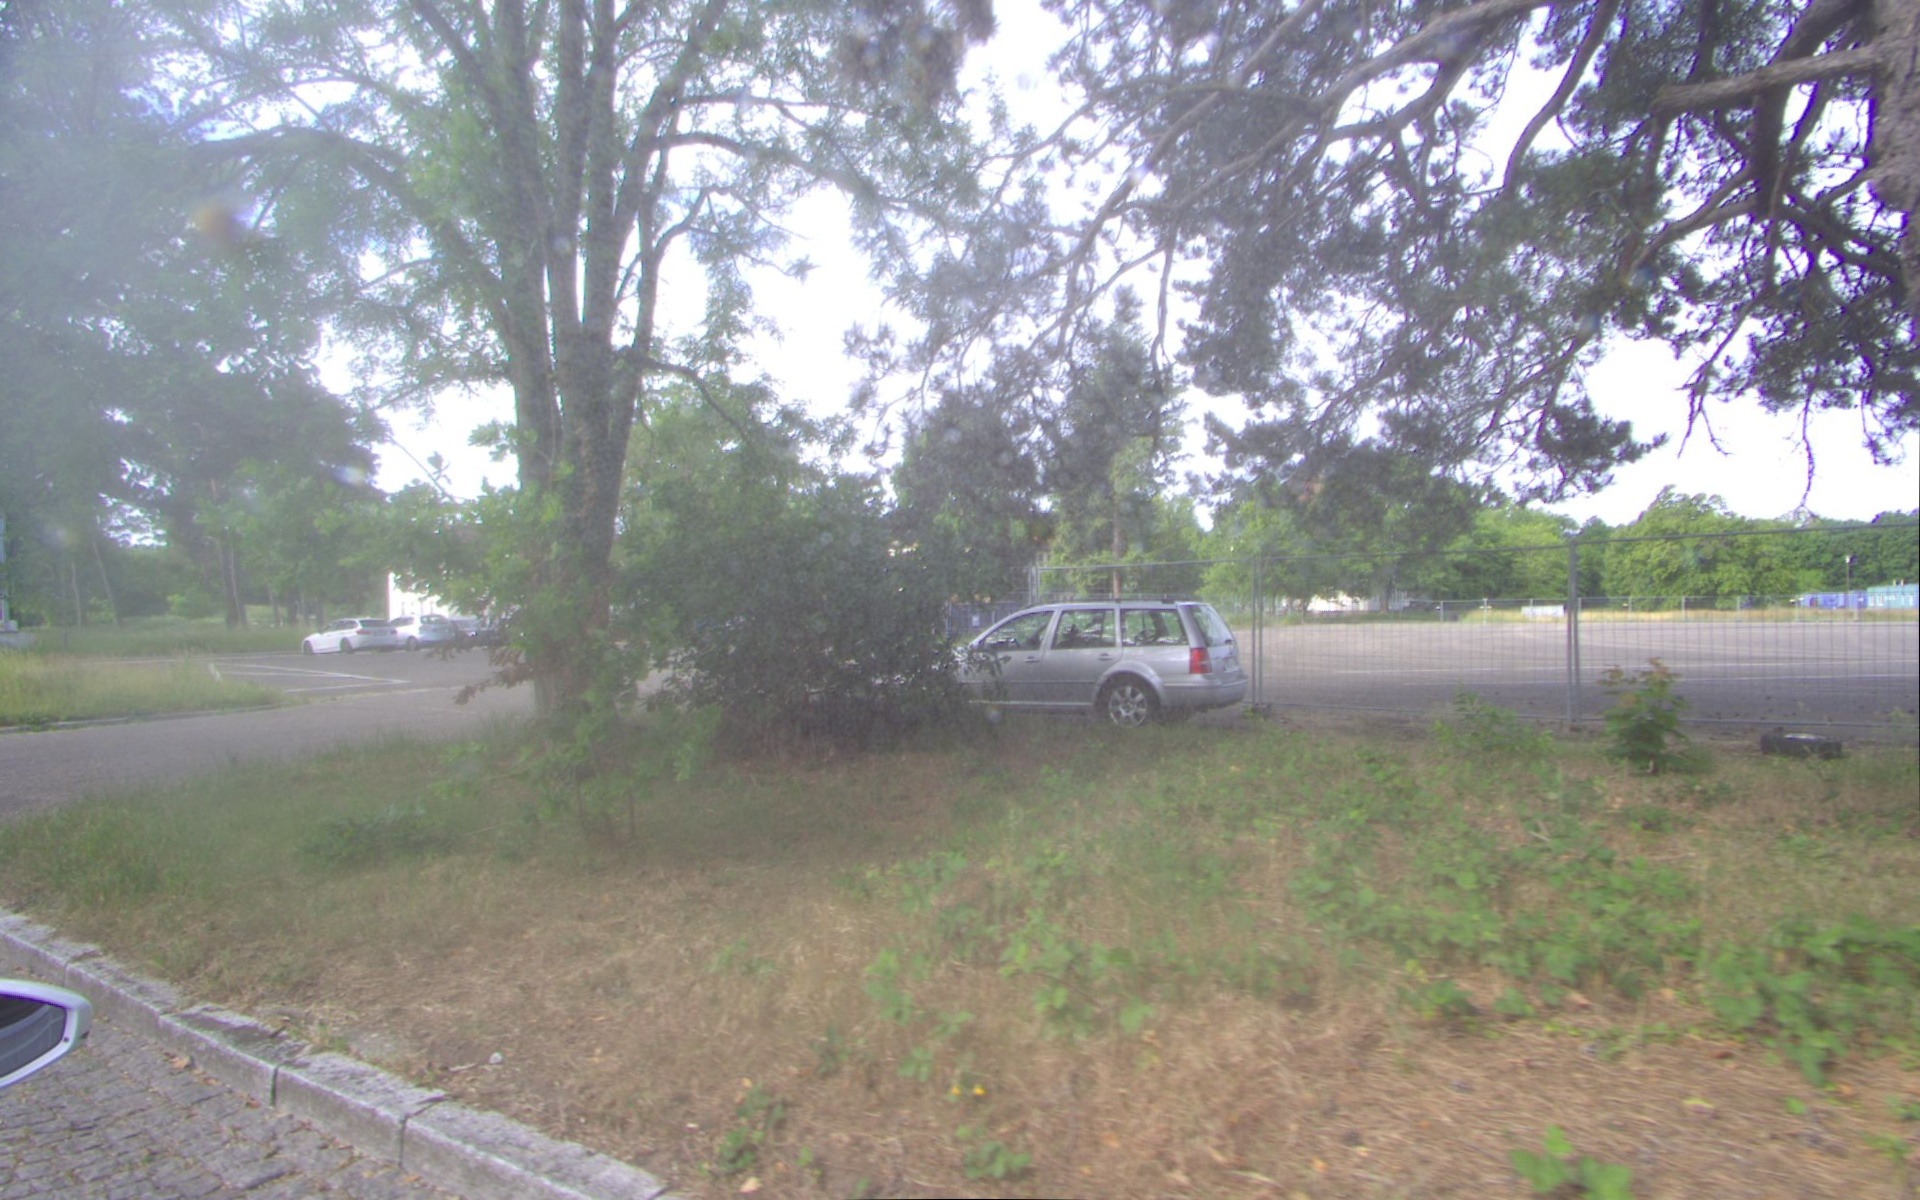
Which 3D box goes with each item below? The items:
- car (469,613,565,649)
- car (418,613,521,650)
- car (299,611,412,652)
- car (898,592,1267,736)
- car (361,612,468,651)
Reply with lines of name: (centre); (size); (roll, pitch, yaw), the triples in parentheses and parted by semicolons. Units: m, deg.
car: (-21.098, 1.499, 47.647); (4.359, 1.542, 1.992); (-3, -2, 29)
car: (-22.116, 1.433, 45.133); (4.359, 1.500, 1.991); (-3, -1, 29)
car: (-24.469, 1.276, 40.490); (4.359, 1.500, 1.991); (-3, -1, 29)
car: (1.391, 0.712, 11.820); (4.014, 1.444, 1.645); (-1, -3, 31)
car: (-23.285, 1.351, 42.717); (4.359, 1.500, 1.991); (-3, -1, 29)
